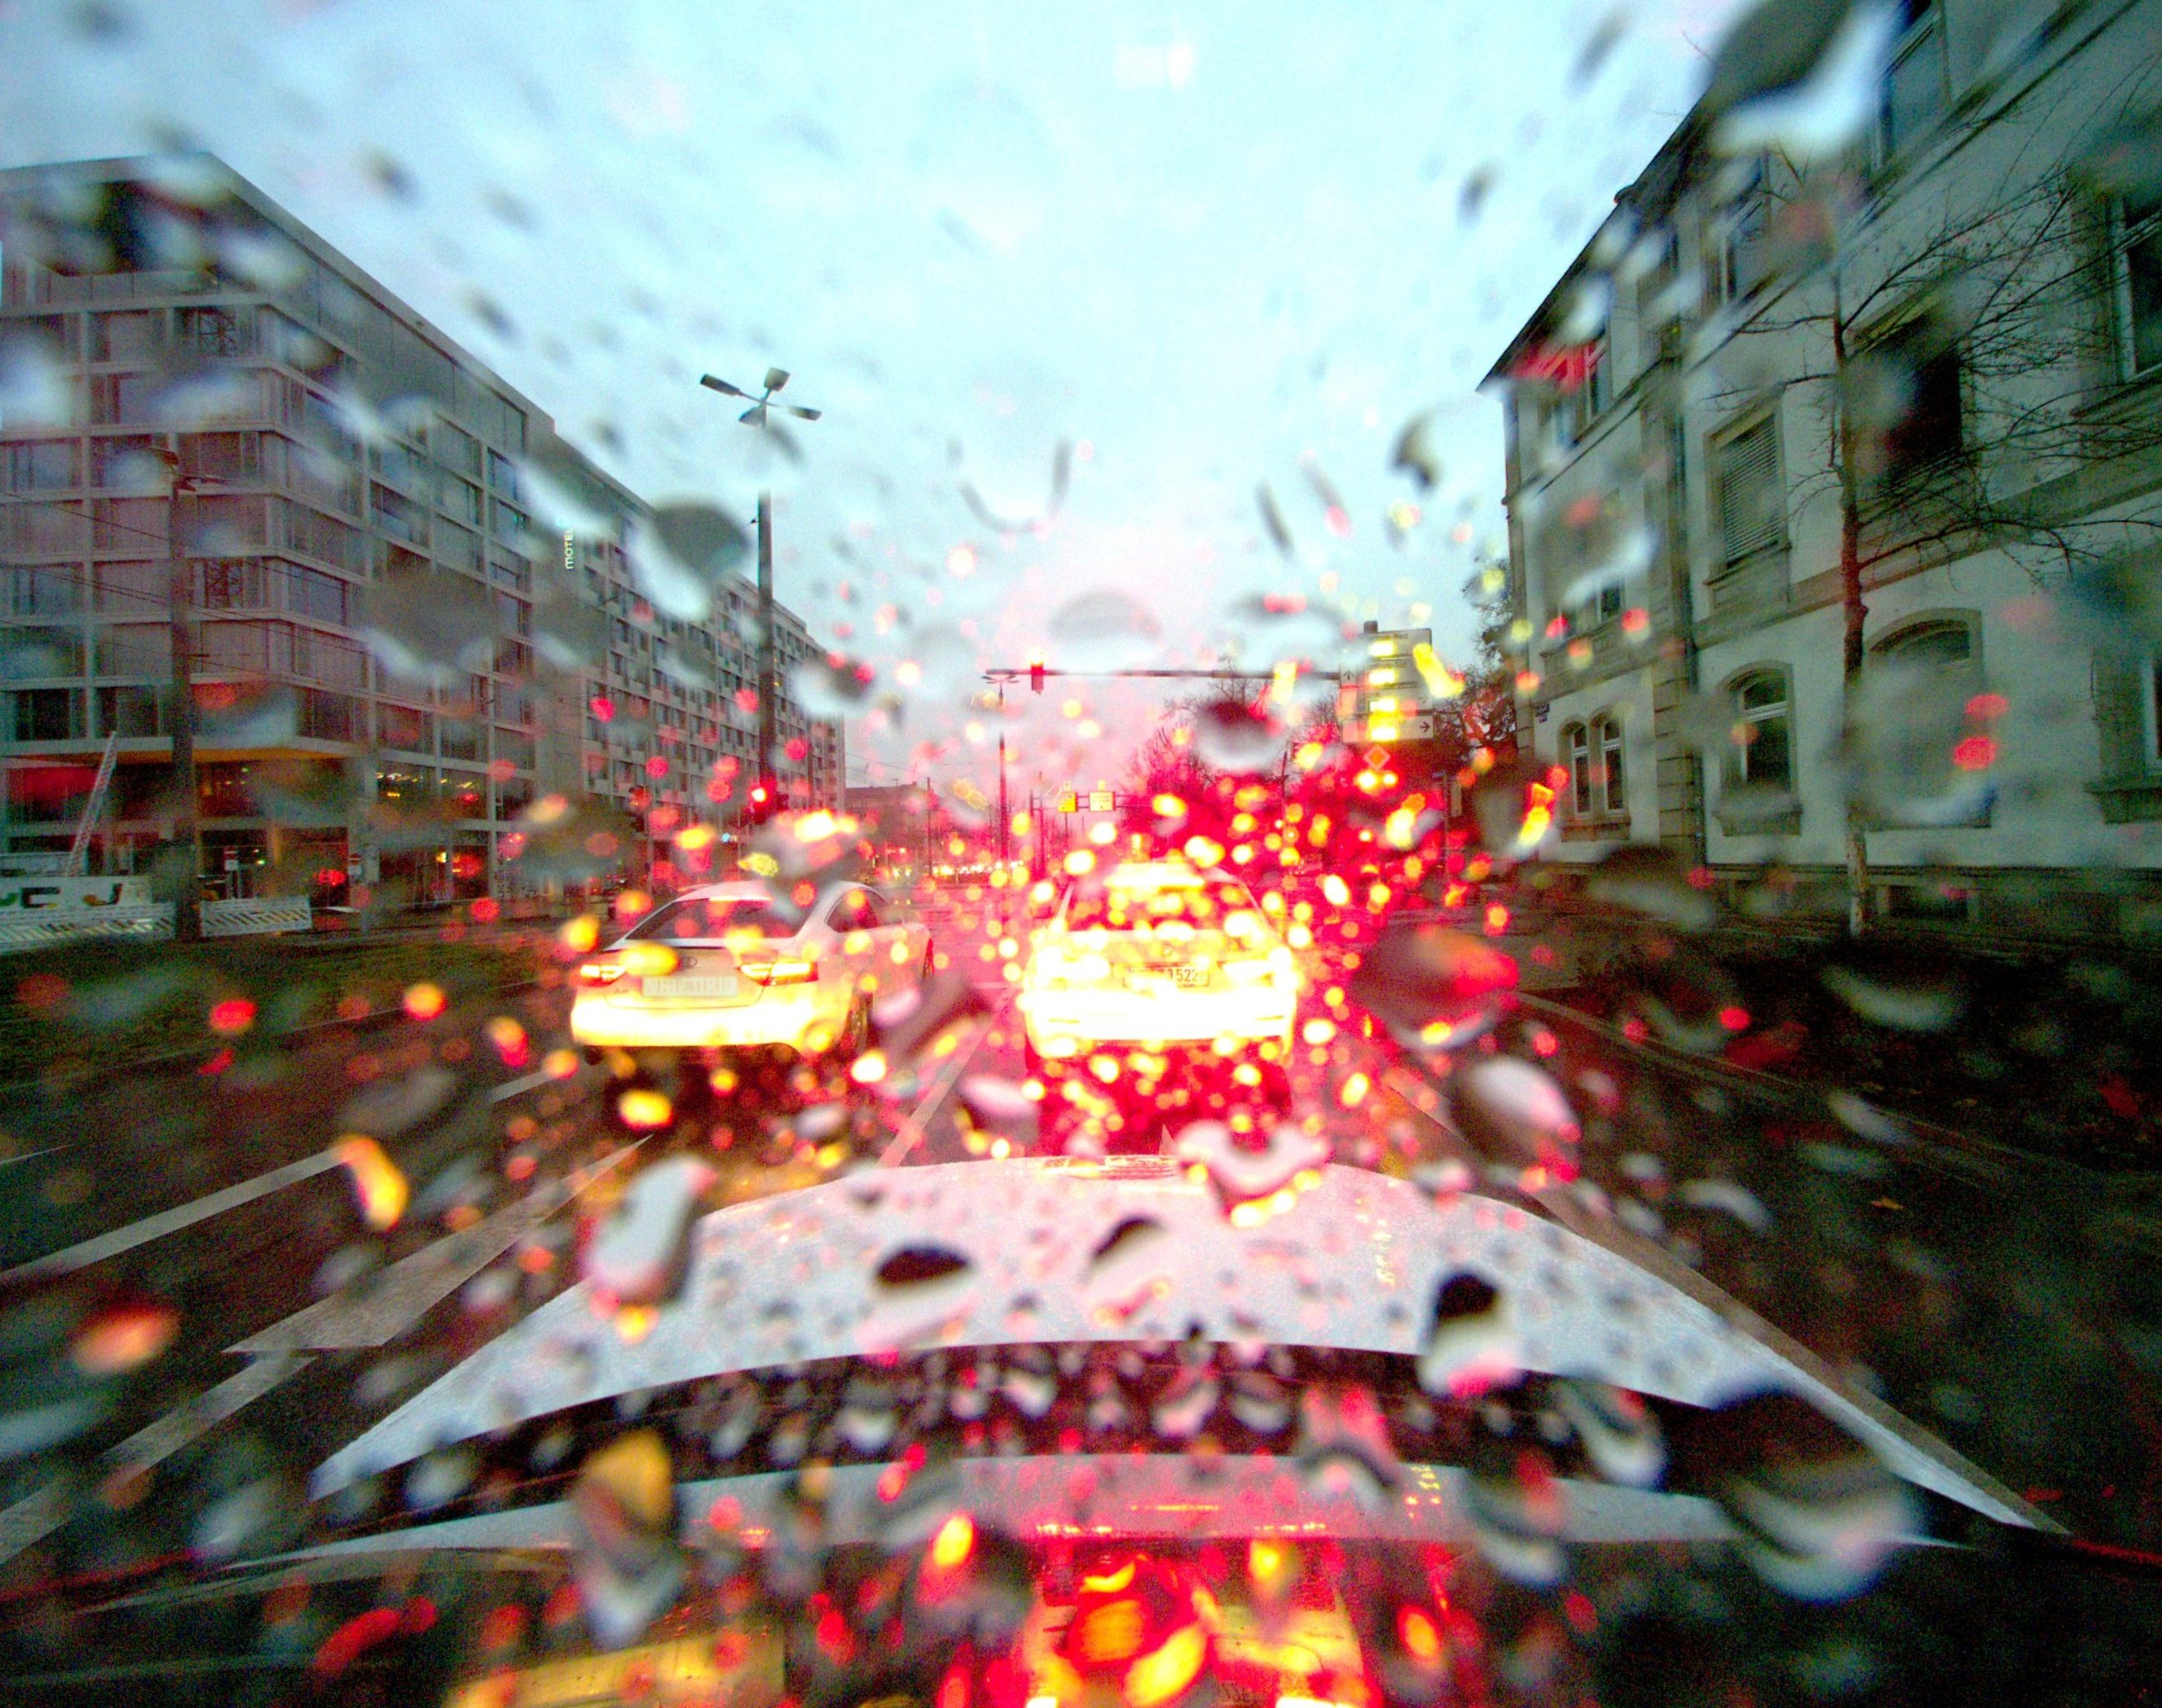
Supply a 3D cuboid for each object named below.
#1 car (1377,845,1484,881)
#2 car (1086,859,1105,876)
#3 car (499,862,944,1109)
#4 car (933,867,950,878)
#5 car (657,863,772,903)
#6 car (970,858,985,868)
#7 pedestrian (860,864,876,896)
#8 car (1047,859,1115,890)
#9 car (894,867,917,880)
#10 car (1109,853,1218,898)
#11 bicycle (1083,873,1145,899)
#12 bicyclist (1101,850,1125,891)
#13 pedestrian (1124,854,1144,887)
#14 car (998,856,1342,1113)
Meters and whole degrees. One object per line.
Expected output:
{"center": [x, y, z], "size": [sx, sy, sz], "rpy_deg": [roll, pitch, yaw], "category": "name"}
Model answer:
{"center": [14.312, 0.385, 33.402], "size": [3.951, 1.402, 1.767], "rpy_deg": [0, -1, 25], "category": "car"}
{"center": [1.463, 1.328, 80.159], "size": [1.836, 1.609, 3.945], "rpy_deg": [0, -1, 1], "category": "car"}
{"center": [-2.597, 0.831, 7.234], "size": [1.987, 1.456, 4.367], "rpy_deg": [-1, 0, 0], "category": "car"}
{"center": [-19.522, 2.529, 114.120], "size": [1.669, 1.508, 3.697], "rpy_deg": [0, -1, 1], "category": "car"}
{"center": [-14.002, 1.110, 31.290], "size": [3.688, 1.478, 1.623], "rpy_deg": [0, -1, -10], "category": "car"}
{"center": [-15.964, 1.459, 125.494], "size": [1.669, 1.508, 3.697], "rpy_deg": [0, -1, 1], "category": "car"}
{"center": [-11.716, 1.420, 44.787], "size": [0.791, 1.712, 0.809], "rpy_deg": [0, -1, -13], "category": "pedestrian"}
{"center": [-0.040, 1.082, 43.051], "size": [1.755, 1.554, 3.927], "rpy_deg": [1, -1, -33], "category": "car"}
{"center": [-20.192, 2.216, 93.756], "size": [1.669, 1.508, 3.697], "rpy_deg": [0, -1, 1], "category": "car"}
{"center": [3.153, 0.796, 30.645], "size": [3.963, 1.622, 1.723], "rpy_deg": [0, -1, 9], "category": "car"}
{"center": [1.470, 1.400, 35.601], "size": [2.653, 1.089, 0.816], "rpy_deg": [0, -1, 5], "category": "bicycle"}
{"center": [1.396, 0.713, 35.618], "size": [0.967, 1.759, 0.815], "rpy_deg": [0, -1, 6], "category": "bicyclist"}
{"center": [3.012, 0.944, 46.365], "size": [0.894, 1.856, 0.817], "rpy_deg": [-1, -1, 26], "category": "pedestrian"}
{"center": [0.525, 0.763, 6.941], "size": [1.987, 1.456, 4.367], "rpy_deg": [-1, 0, 0], "category": "car"}
